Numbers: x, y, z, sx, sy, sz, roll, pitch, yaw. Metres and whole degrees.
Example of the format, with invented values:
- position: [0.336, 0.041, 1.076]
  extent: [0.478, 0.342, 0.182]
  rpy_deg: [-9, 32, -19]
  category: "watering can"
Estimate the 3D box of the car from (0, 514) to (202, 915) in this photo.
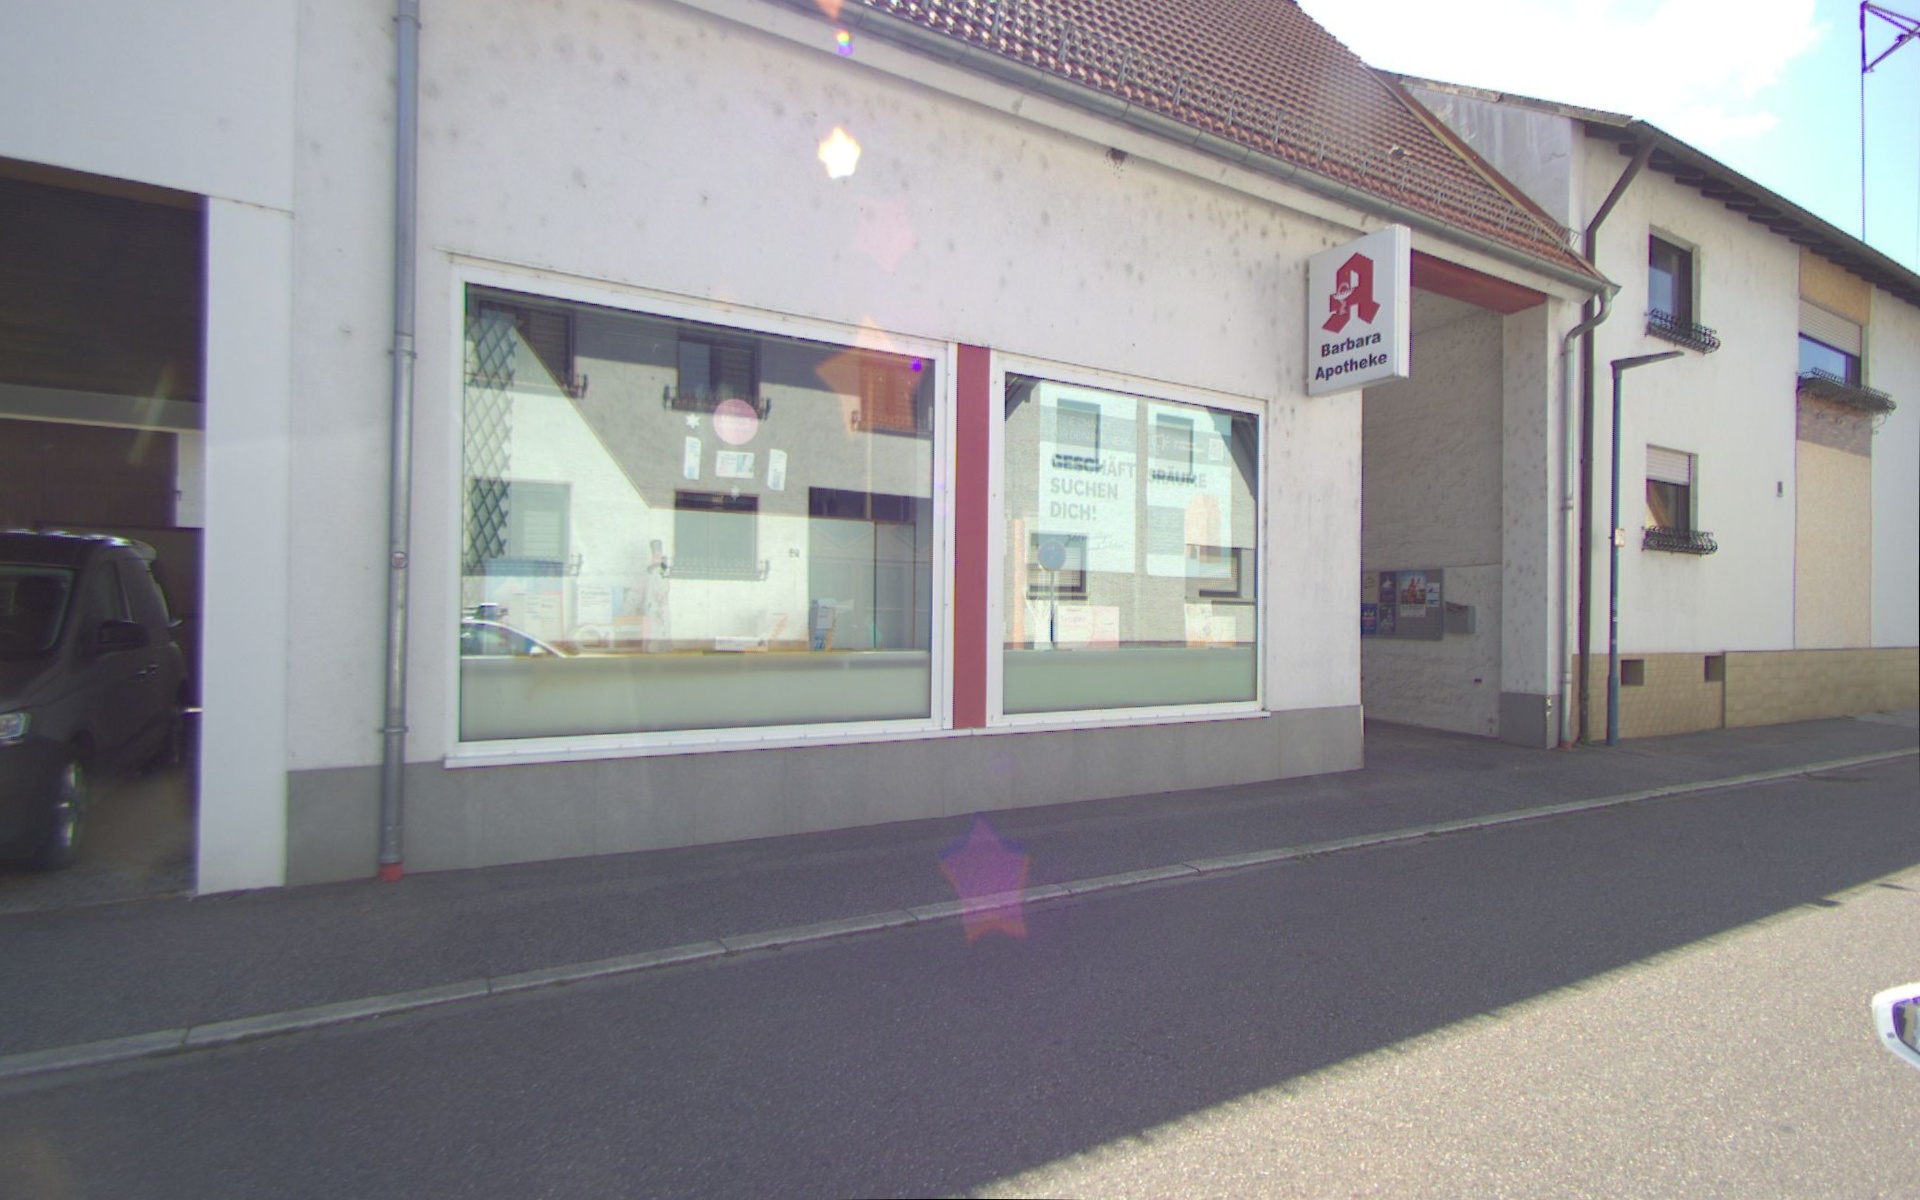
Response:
- position: [-5.777, 0.425, 5.698]
  extent: [1.792, 1.741, 3.969]
  rpy_deg: [1, 1, -29]
  category: "car"
